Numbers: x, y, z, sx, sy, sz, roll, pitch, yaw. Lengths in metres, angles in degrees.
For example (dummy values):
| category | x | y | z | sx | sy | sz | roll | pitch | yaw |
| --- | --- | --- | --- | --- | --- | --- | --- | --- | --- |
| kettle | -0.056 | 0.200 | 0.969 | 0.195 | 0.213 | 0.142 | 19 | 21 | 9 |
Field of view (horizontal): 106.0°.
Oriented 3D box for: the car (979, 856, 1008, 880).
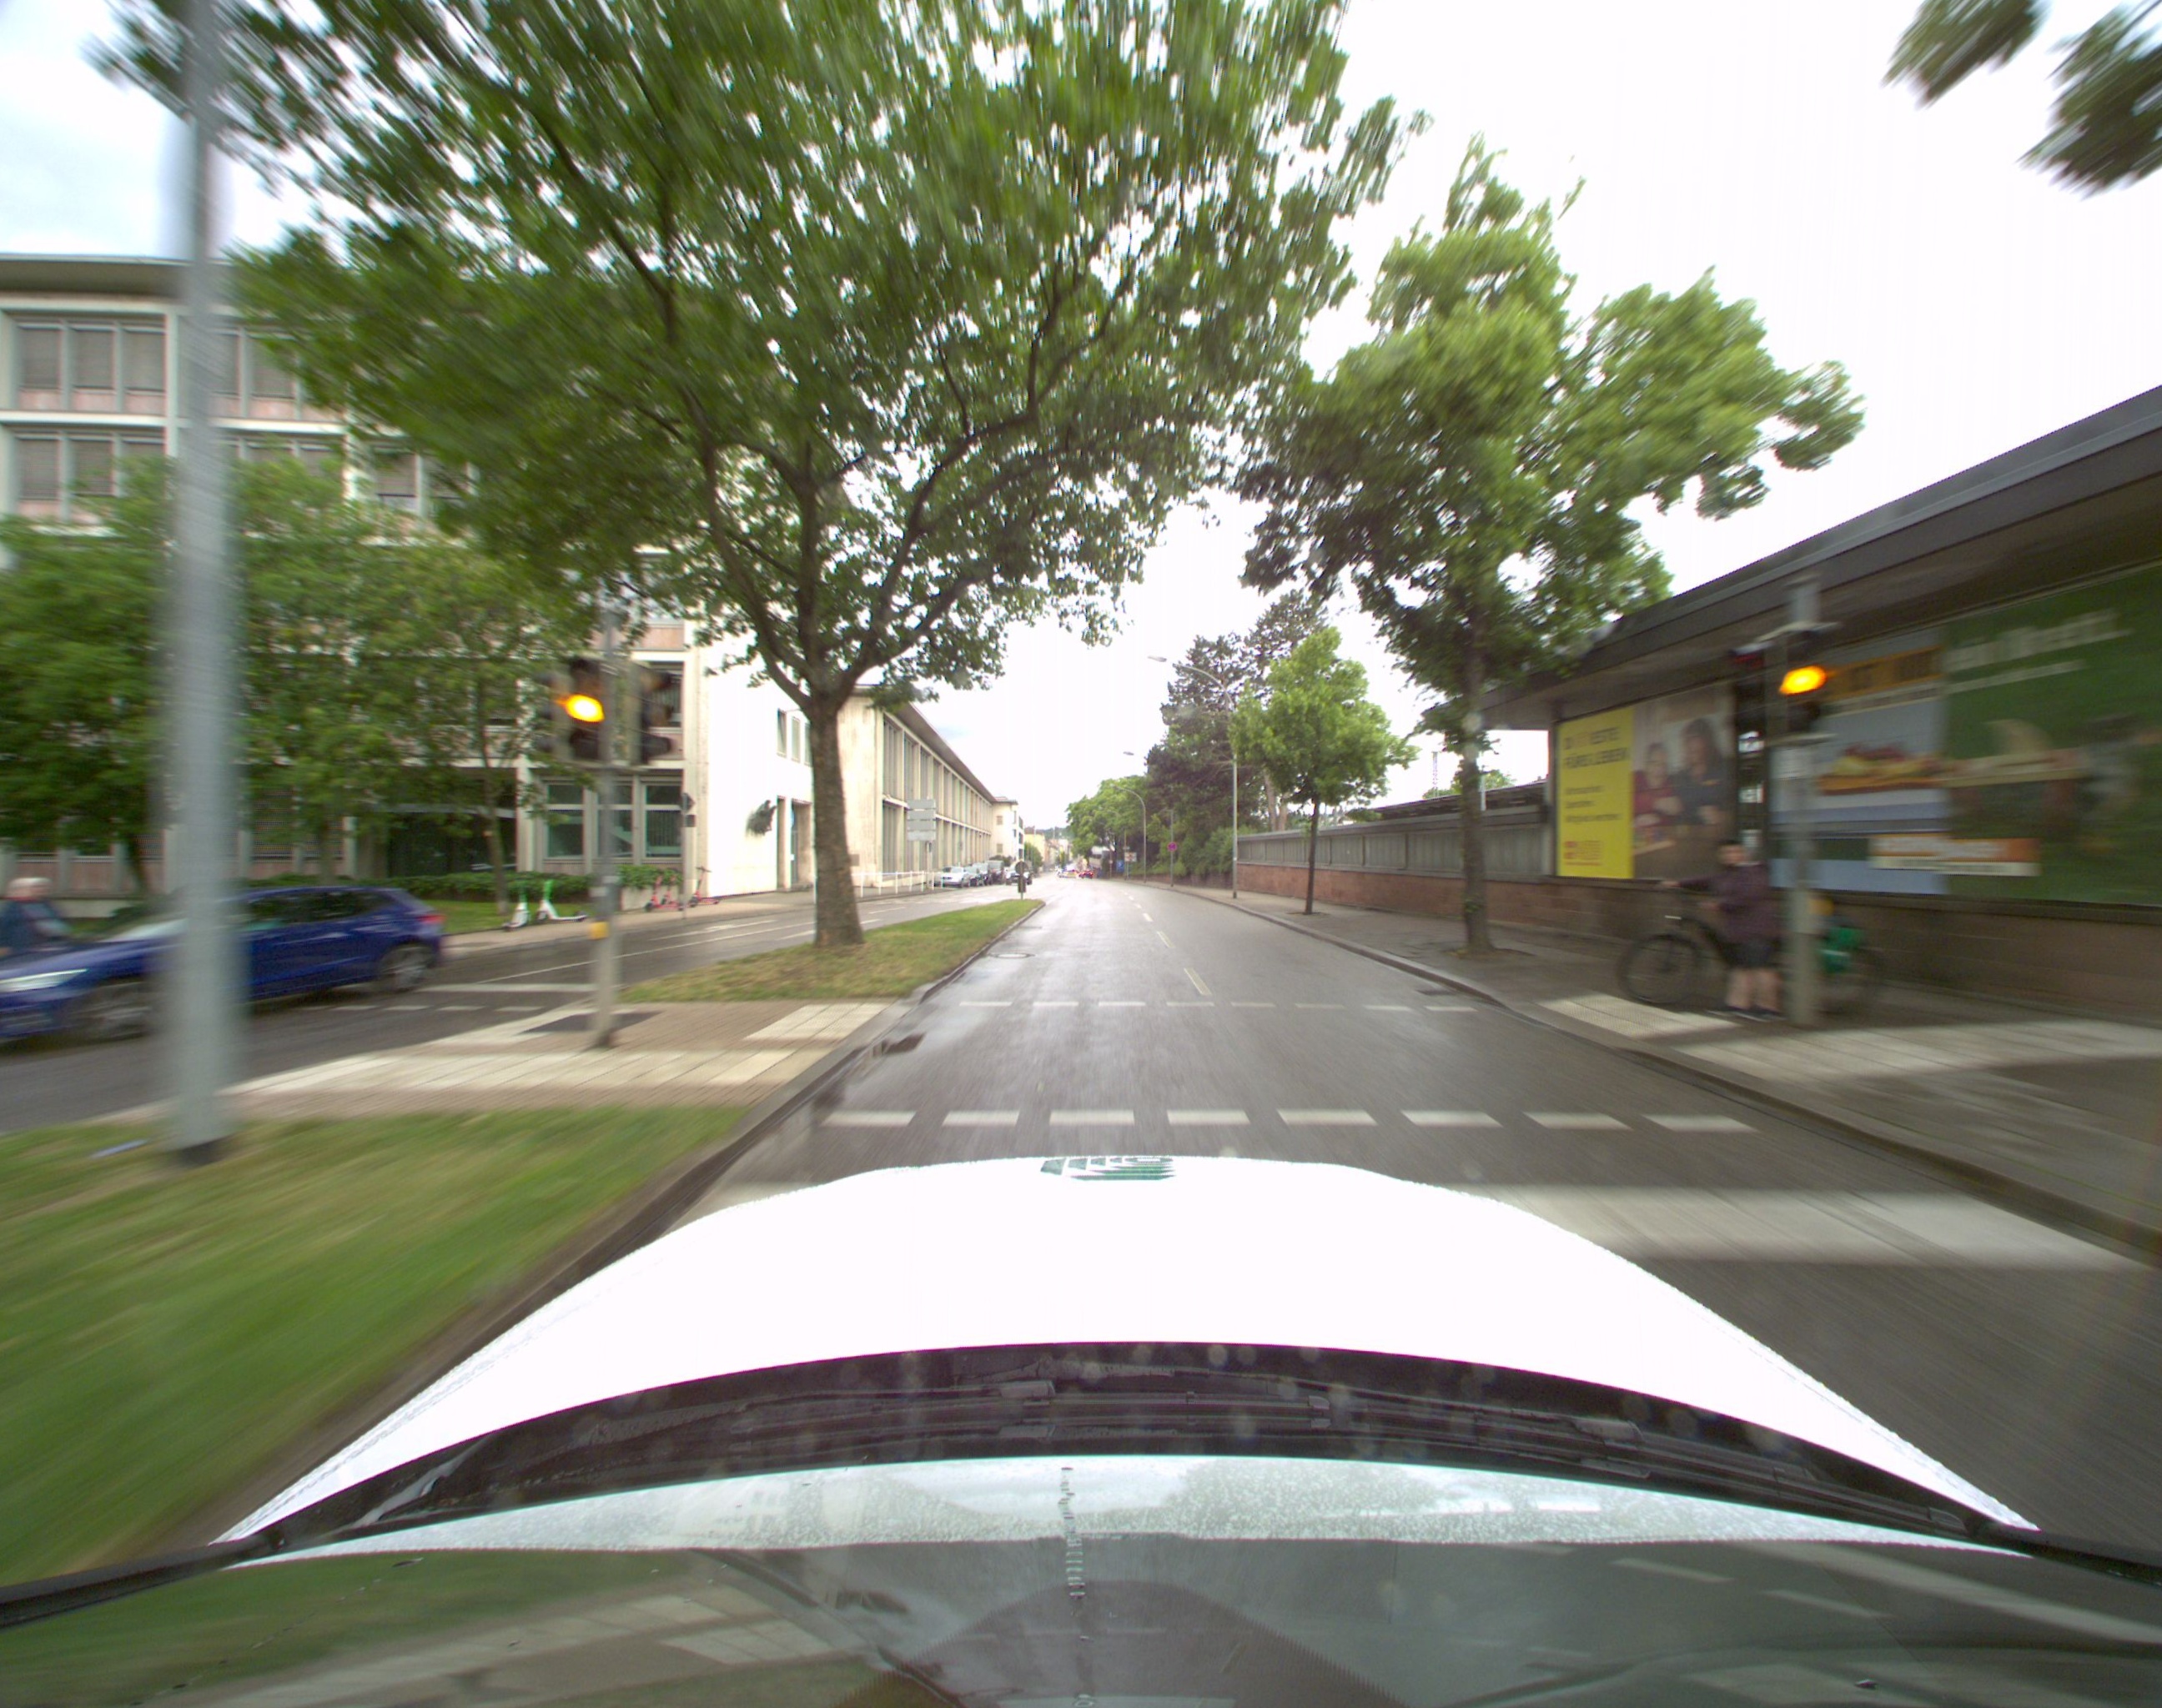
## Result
| category | x | y | z | sx | sy | sz | roll | pitch | yaw |
| --- | --- | --- | --- | --- | --- | --- | --- | --- | --- |
| car | -7.412 | 1.192 | 69.418 | 1.942 | 1.944 | 4.995 | 0 | -1 | 0 |

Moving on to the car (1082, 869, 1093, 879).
| category | x | y | z | sx | sy | sz | roll | pitch | yaw |
| --- | --- | --- | --- | --- | --- | --- | --- | --- | --- |
| car | 1.268 | 3.990 | 162.261 | 2.085 | 1.910 | 4.098 | -2 | 0 | -1 |

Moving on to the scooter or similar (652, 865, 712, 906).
| category | x | y | z | sx | sy | sz | roll | pitch | yaw |
| --- | --- | --- | --- | --- | --- | --- | --- | --- | --- |
| scooter or similar | -12.203 | 0.945 | 24.929 | 0.601 | 1.192 | 1.538 | -1 | 0 | 34 |

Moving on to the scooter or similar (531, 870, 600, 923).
| category | x | y | z | sx | sy | sz | roll | pitch | yaw |
| --- | --- | --- | --- | --- | --- | --- | --- | --- | --- |
| scooter or similar | -12.465 | 0.998 | 19.744 | 0.567 | 1.192 | 1.576 | -1 | 0 | 5 |

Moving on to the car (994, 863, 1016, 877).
| category | x | y | z | sx | sy | sz | roll | pitch | yaw |
| --- | --- | --- | --- | --- | --- | --- | --- | --- | --- |
| car | -7.915 | 1.658 | 84.673 | 1.810 | 1.484 | 4.908 | 0 | -1 | 0 |

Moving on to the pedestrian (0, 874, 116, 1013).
| category | x | y | z | sx | sy | sz | roll | pitch | yaw |
| --- | --- | --- | --- | --- | --- | --- | --- | --- | --- |
| pedestrian | -12.704 | 1.059 | 9.992 | 0.653 | 1.603 | 0.922 | -1 | 0 | -10 |

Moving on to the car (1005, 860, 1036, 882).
| category | x | y | z | sx | sy | sz | roll | pitch | yaw |
| --- | --- | --- | --- | --- | --- | --- | --- | --- | --- |
| car | -4.688 | 1.280 | 63.324 | 1.814 | 1.660 | 4.341 | -1 | 0 | 3 |

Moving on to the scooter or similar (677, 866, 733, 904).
| category | x | y | z | sx | sy | sz | roll | pitch | yaw |
| --- | --- | --- | --- | --- | --- | --- | --- | --- | --- |
| scooter or similar | -12.094 | 0.981 | 26.251 | 0.601 | 1.164 | 1.538 | -1 | 0 | 34 |

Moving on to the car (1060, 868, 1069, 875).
| category | x | y | z | sx | sy | sz | roll | pitch | yaw |
| --- | --- | --- | --- | --- | --- | --- | --- | --- | --- |
| car | -4.189 | 4.335 | 207.104 | 1.991 | 1.680 | 3.991 | -1 | 0 | -7 |

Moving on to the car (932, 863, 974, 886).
| category | x | y | z | sx | sy | sz | roll | pitch | yaw |
| --- | --- | --- | --- | --- | --- | --- | --- | --- | --- |
| car | -7.777 | 1.222 | 49.959 | 1.684 | 1.297 | 4.096 | 0 | -1 | 4 |

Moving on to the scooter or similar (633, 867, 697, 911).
| category | x | y | z | sx | sy | sz | roll | pitch | yaw |
| --- | --- | --- | --- | --- | --- | --- | --- | --- | --- |
| scooter or similar | -12.031 | 1.009 | 23.610 | 0.601 | 1.192 | 1.538 | -1 | 0 | 34 |

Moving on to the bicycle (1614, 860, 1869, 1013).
| category | x | y | z | sx | sy | sz | roll | pitch | yaw |
| --- | --- | --- | --- | --- | --- | --- | --- | --- | --- |
| bicycle | 5.902 | 0.718 | 7.403 | 1.703 | 1.249 | 0.489 | -3 | 0 | 32 |

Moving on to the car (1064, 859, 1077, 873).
| category | x | y | z | sx | sy | sz | roll | pitch | yaw |
| --- | --- | --- | --- | --- | --- | --- | --- | --- | --- |
| car | -2.042 | 2.366 | 158.629 | 2.257 | 2.656 | 3.999 | -2 | 0 | 0 |

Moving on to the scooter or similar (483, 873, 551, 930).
| category | x | y | z | sx | sy | sz | roll | pitch | yaw |
| --- | --- | --- | --- | --- | --- | --- | --- | --- | --- |
| scooter or similar | -12.480 | 1.036 | 18.063 | 0.487 | 1.167 | 1.500 | -1 | 0 | -2 |

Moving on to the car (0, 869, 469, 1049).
| category | x | y | z | sx | sy | sz | roll | pitch | yaw |
| --- | --- | --- | --- | --- | --- | --- | --- | --- | --- |
| car | -9.915 | 1.011 | 9.498 | 1.827 | 1.508 | 4.120 | -3 | 0 | 15 |

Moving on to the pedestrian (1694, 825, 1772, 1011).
| category | x | y | z | sx | sy | sz | roll | pitch | yaw |
| --- | --- | --- | --- | --- | --- | --- | --- | --- | --- |
| pedestrian | 5.707 | 0.540 | 7.145 | 0.452 | 1.568 | 0.396 | -2 | -1 | 33 |

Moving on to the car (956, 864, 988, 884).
| category | x | y | z | sx | sy | sz | roll | pitch | yaw |
| --- | --- | --- | --- | --- | --- | --- | --- | --- | --- |
| car | -7.406 | 1.332 | 55.735 | 1.537 | 1.353 | 4.111 | 0 | -1 | 2 |

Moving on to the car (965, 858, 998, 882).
| category | x | y | z | sx | sy | sz | roll | pitch | yaw |
| --- | --- | --- | --- | --- | --- | --- | --- | --- | --- |
| car | -7.379 | 1.180 | 60.832 | 1.791 | 1.675 | 4.603 | 0 | -1 | 1 |
